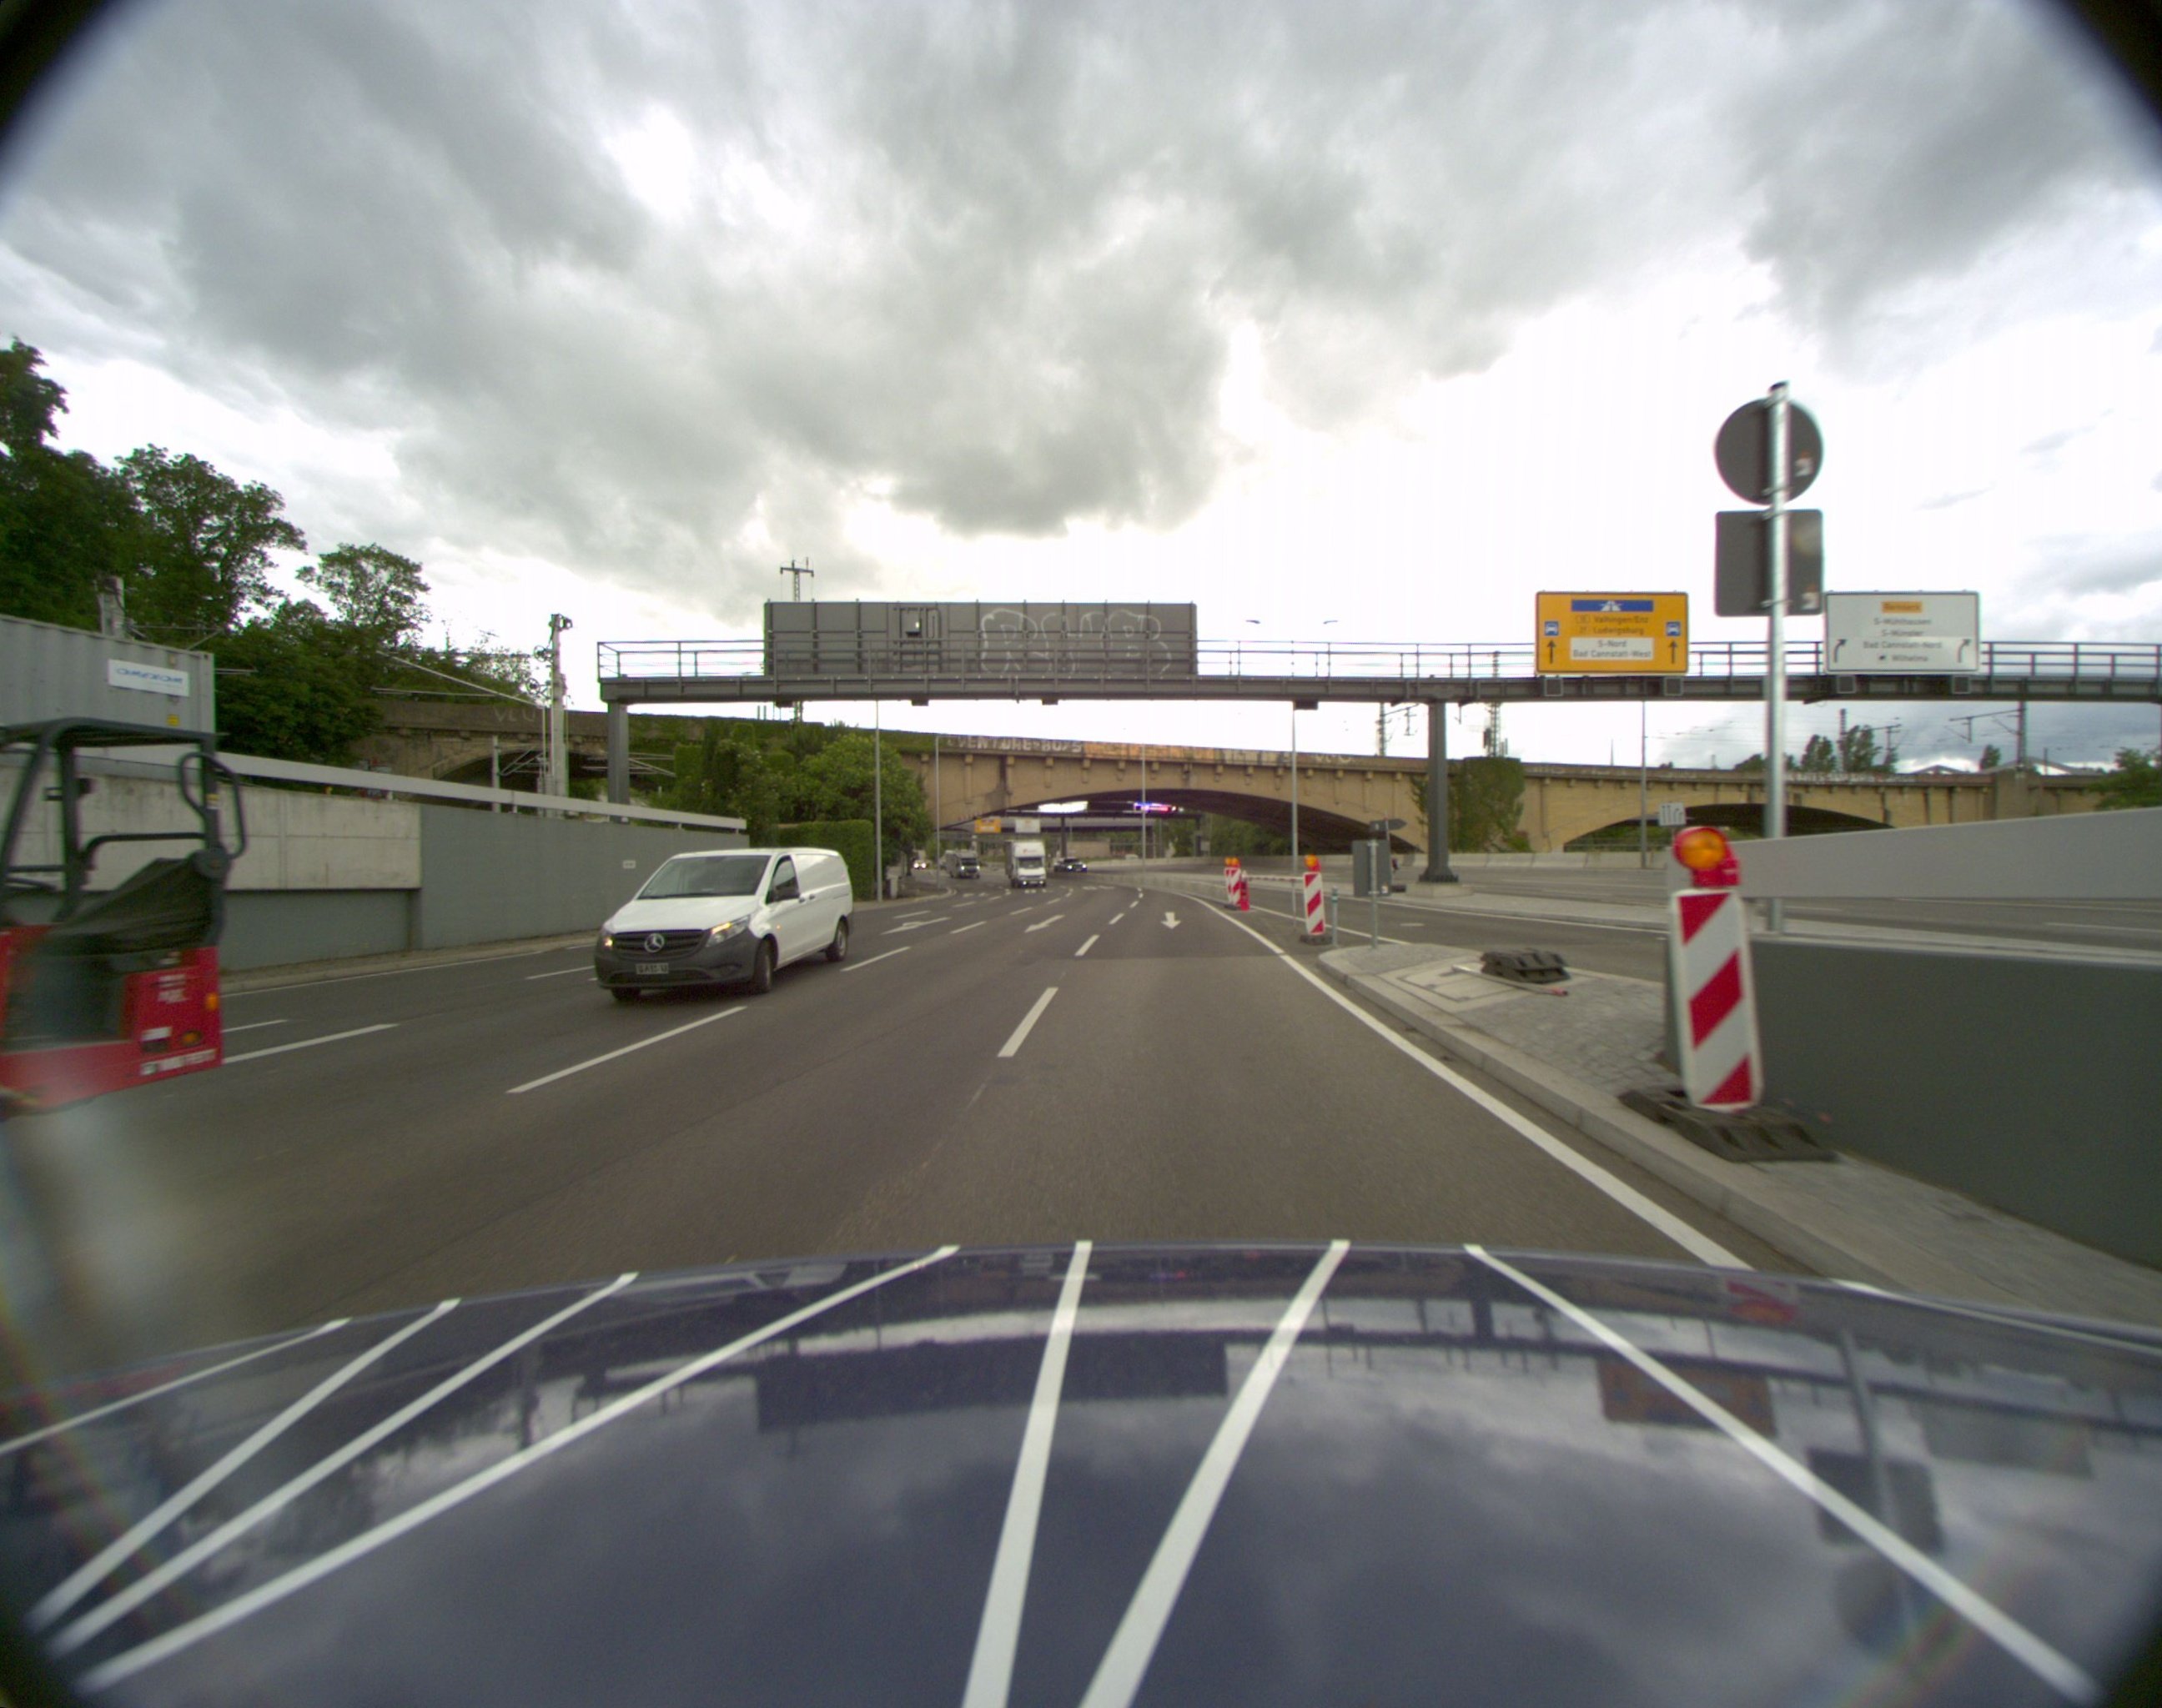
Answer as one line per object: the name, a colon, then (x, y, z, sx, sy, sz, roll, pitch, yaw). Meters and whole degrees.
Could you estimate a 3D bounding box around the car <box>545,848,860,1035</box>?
car: (-4.936, 0.975, 11.010, 1.999, 1.978, 5.198, -2, 0, -2)

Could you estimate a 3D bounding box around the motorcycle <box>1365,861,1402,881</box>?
motorcycle: (14.568, 0.806, 36.653, 0.667, 0.911, 2.394, -3, -1, -4)

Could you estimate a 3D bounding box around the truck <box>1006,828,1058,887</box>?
truck: (-3.611, 0.244, 53.890, 3.034, 3.566, 8.945, -5, 0, -6)

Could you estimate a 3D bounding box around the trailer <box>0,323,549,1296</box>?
trailer: (-6.547, -0.150, 0.768, 3.733, 4.117, 10.985, -2, 0, 3)

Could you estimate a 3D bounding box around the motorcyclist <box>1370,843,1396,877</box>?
motorcyclist: (14.545, 0.292, 36.646, 0.667, 1.596, 1.103, -3, 0, -4)

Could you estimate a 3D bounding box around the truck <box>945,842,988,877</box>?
truck: (-12.549, 0.637, 82.340, 2.578, 3.547, 9.099, -2, 0, -21)

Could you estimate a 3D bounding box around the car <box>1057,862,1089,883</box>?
car: (-0.757, 1.672, 69.786, 1.870, 1.827, 4.200, -2, 0, -15)
